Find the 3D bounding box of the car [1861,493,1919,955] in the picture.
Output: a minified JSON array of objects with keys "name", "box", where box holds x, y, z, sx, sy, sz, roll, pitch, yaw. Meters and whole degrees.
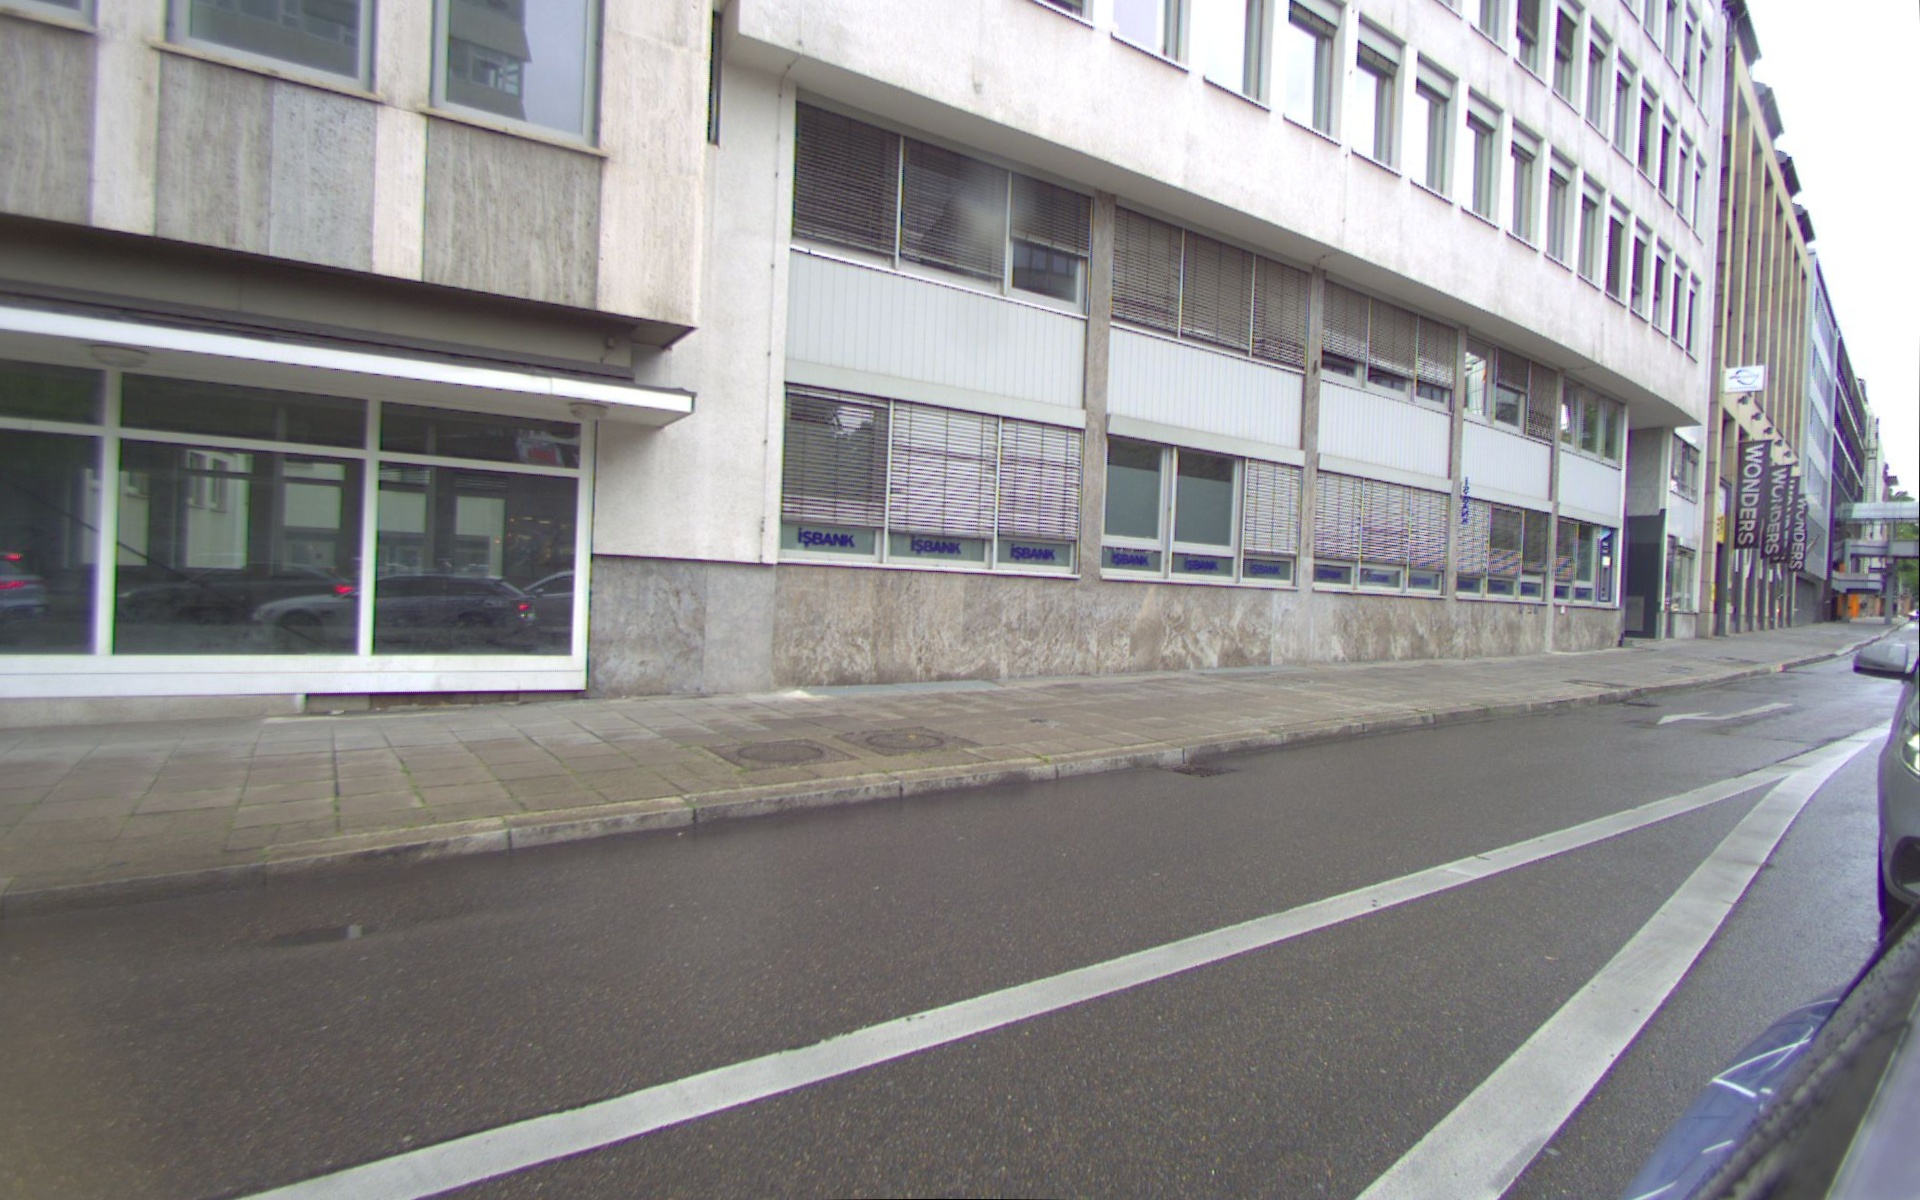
[{"name":"car","box":[6.240,0.516,5.187,4.940,1.879,1.914,0,0,-42]}]
